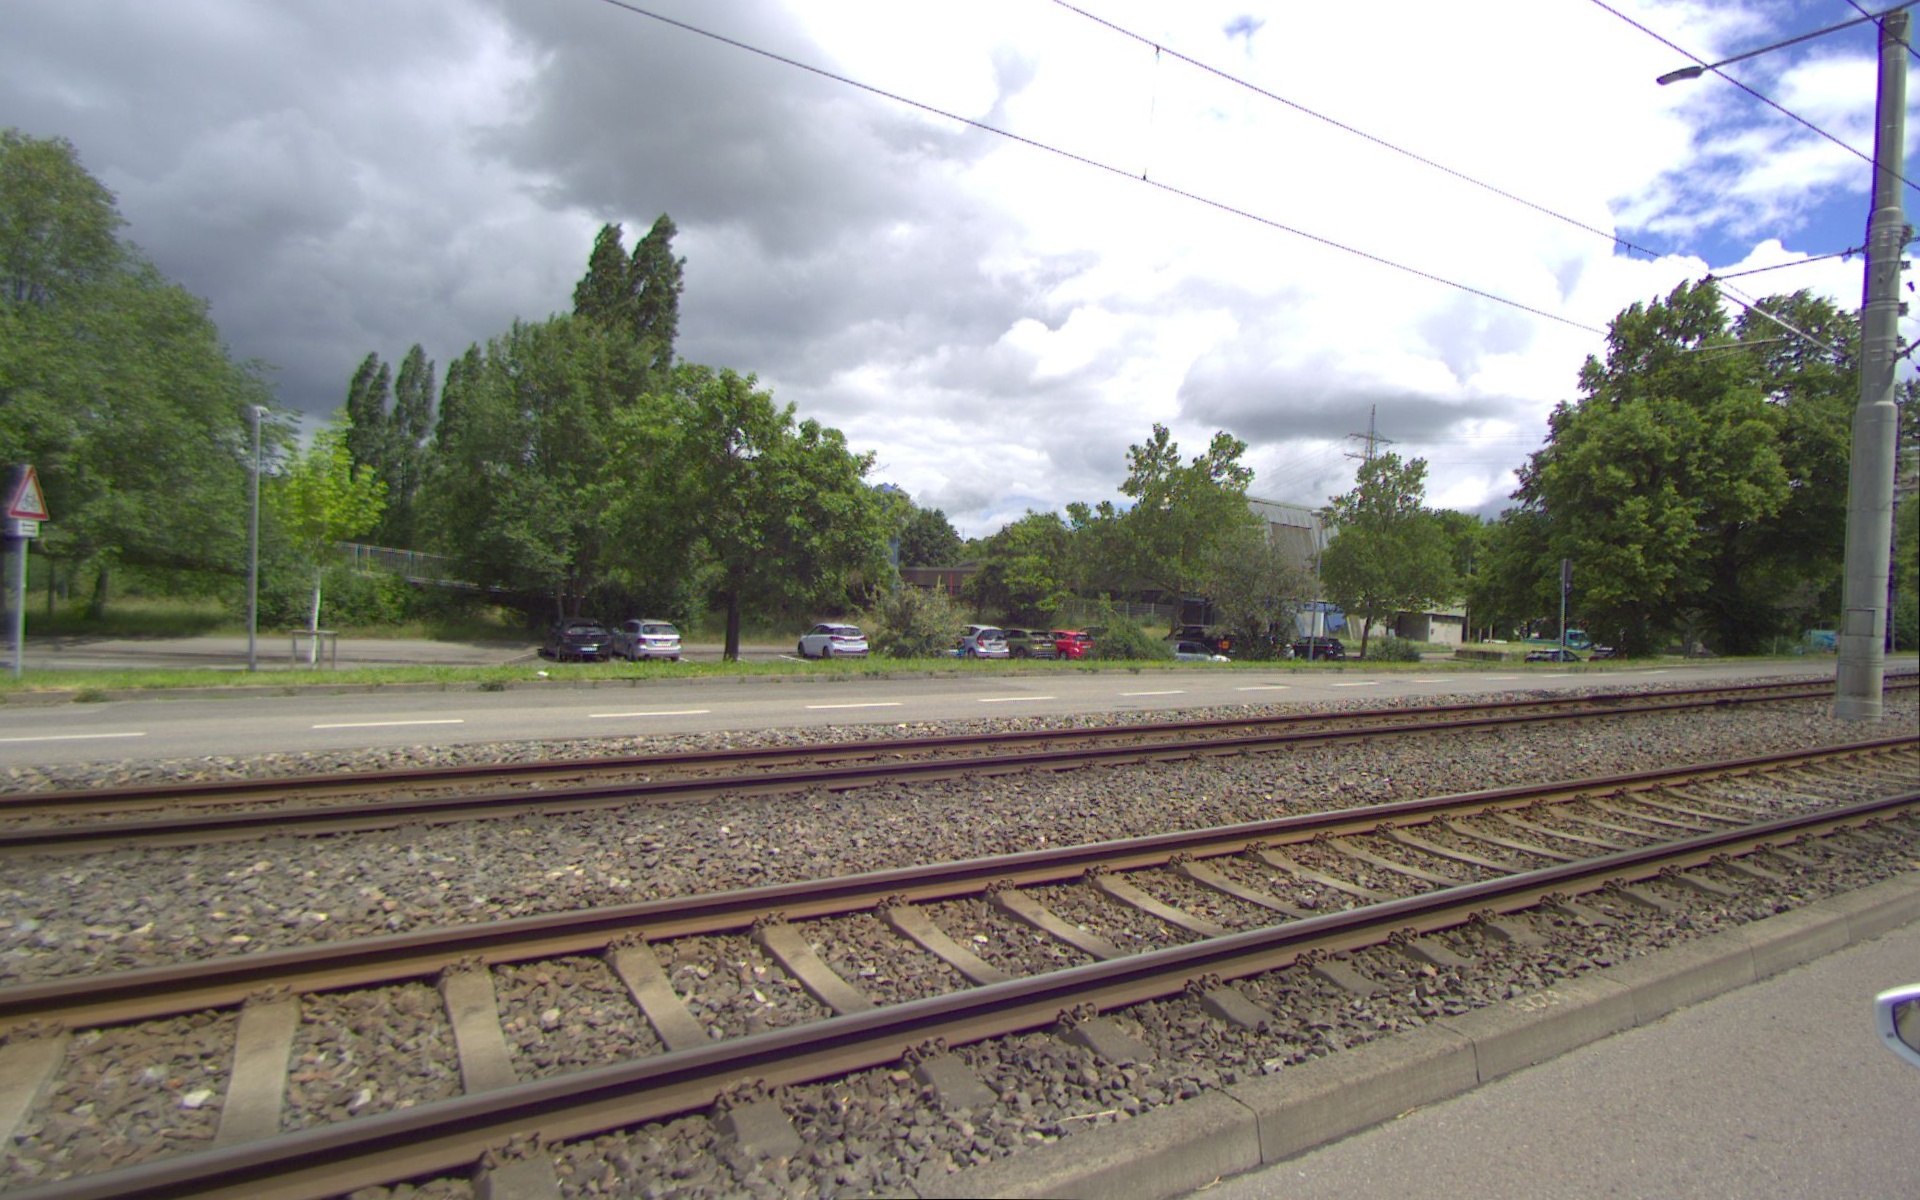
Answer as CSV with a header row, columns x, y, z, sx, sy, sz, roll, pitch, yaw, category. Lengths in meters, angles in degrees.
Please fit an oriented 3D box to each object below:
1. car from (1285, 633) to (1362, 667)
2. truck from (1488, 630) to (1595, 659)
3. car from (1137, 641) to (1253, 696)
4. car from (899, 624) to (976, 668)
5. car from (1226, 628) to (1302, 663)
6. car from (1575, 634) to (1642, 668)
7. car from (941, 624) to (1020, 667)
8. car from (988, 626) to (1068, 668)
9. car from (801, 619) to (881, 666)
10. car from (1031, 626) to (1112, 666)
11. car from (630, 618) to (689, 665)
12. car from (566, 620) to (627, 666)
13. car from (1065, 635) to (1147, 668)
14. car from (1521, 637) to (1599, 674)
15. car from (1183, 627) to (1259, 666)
x,y,z,sx,sy,sz,roll,pitch,yaw,category
20.624,2.833,57.078,1.833,1.620,3.976,2,1,-24,car
58.283,4.384,100.944,2.591,2.731,9.024,2,-2,-37,truck
8.844,2.512,37.772,4.025,1.779,1.978,1,2,-33,car
-1.005,1.928,43.046,1.844,1.601,3.941,1,2,-25,car
16.575,2.457,54.935,1.832,1.620,3.977,2,1,-23,car
36.425,2.848,56.405,3.959,1.795,1.805,1,-1,-34,car
0.849,1.994,44.728,1.967,1.601,3.941,1,2,-25,car
3.052,2.094,46.014,1.969,1.601,3.941,1,2,-25,car
-4.889,1.668,40.817,1.821,1.601,3.897,1,2,-30,car
5.179,2.120,47.123,1.969,1.601,3.941,1,2,-25,car
-11.092,1.490,36.914,1.552,1.409,3.859,4,0,-23,car
-13.142,1.504,36.177,1.753,1.293,3.954,4,0,-23,car
6.907,2.414,47.962,1.969,1.269,4.069,1,2,-25,car
31.056,2.841,51.986,3.954,1.795,1.807,1,-1,-31,car
13.110,2.329,50.636,1.923,1.659,3.587,2,1,-23,car
